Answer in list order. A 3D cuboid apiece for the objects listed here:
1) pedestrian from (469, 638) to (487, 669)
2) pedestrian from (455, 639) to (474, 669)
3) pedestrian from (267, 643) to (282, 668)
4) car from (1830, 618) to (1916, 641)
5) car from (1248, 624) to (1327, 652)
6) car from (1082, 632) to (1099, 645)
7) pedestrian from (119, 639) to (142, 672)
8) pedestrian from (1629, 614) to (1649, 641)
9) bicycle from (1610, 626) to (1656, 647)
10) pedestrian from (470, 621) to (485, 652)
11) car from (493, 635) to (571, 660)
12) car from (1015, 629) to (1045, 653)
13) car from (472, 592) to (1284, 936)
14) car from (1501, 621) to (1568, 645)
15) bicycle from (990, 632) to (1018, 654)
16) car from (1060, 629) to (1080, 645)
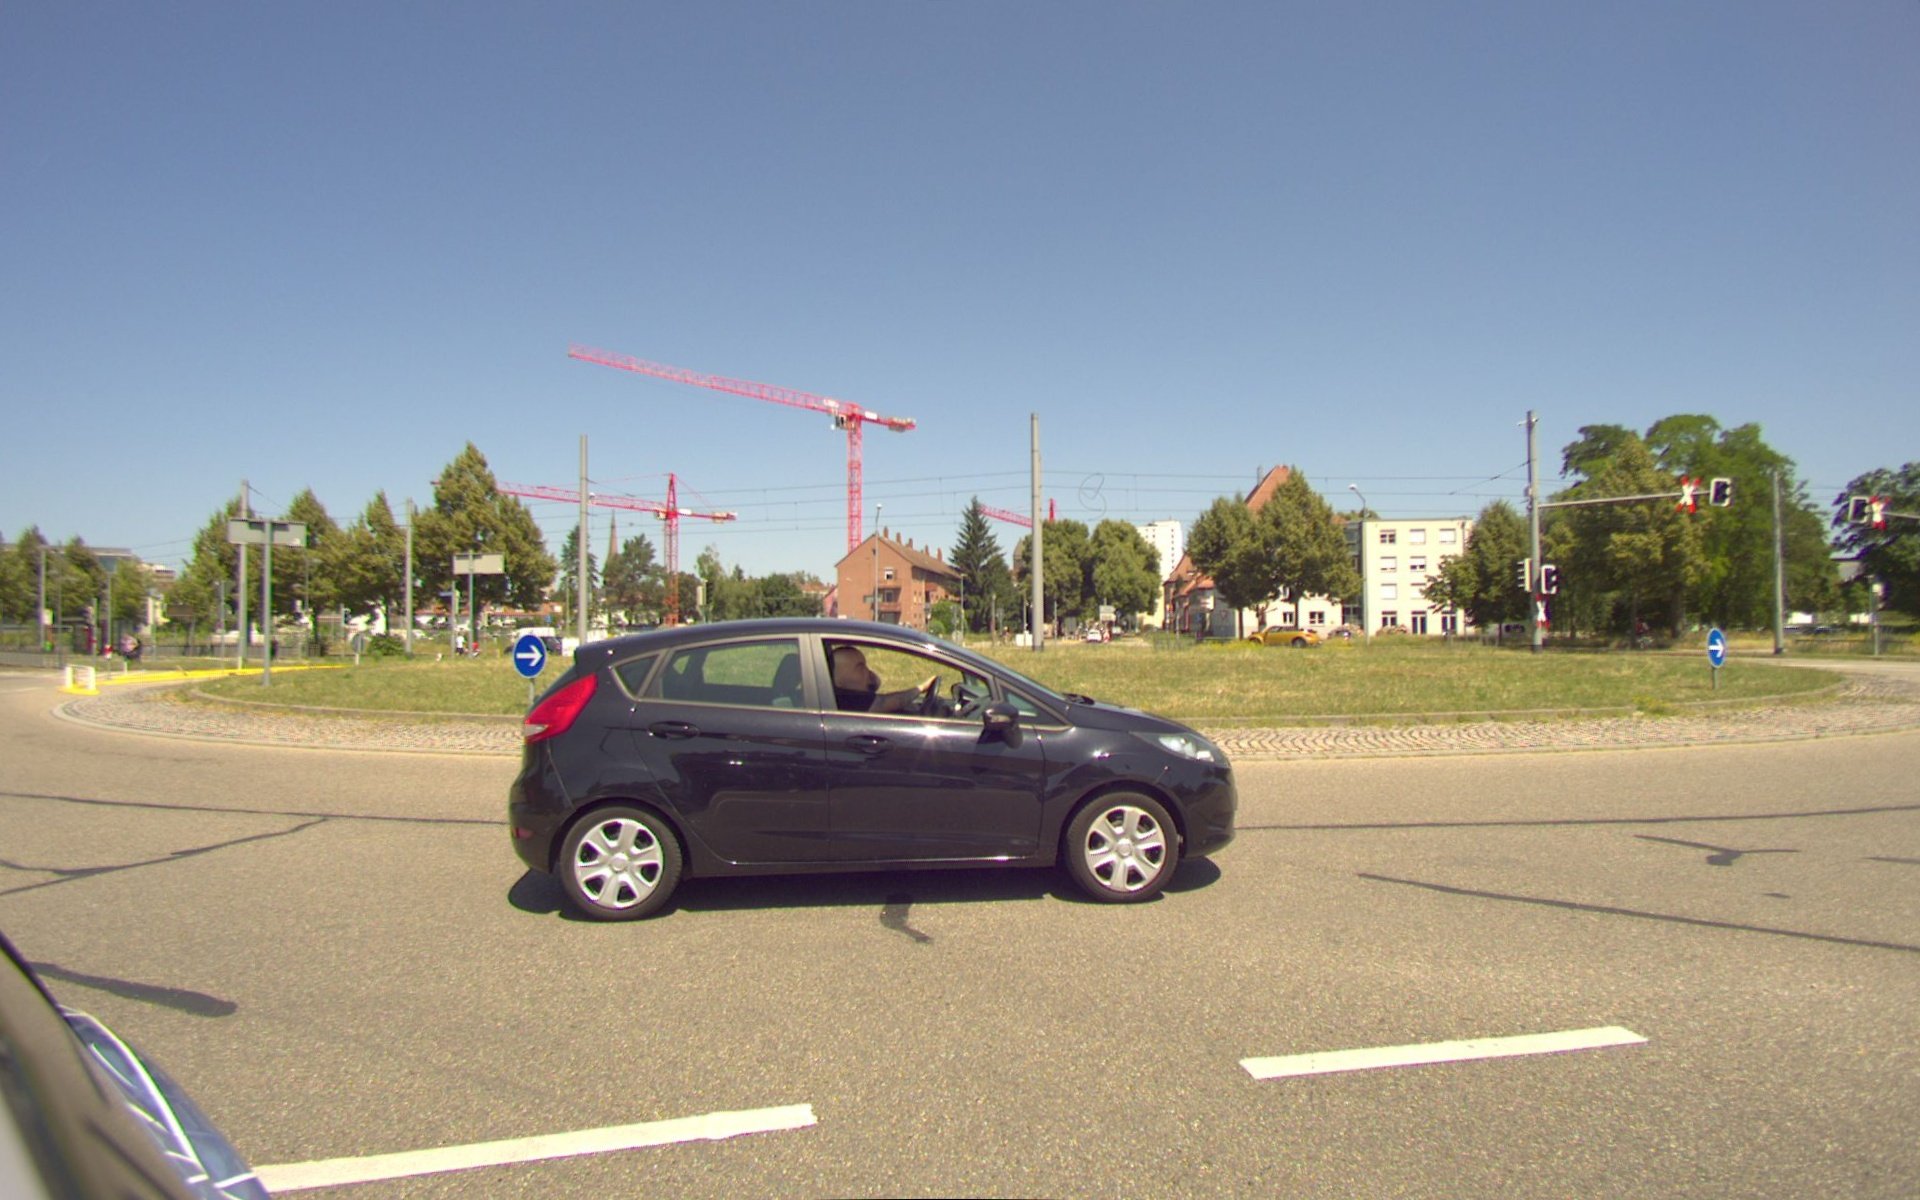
[{"bbox_3d":[-31.404,3.489,65.932,0.731,2.029,0.736,0,-2,40],"label":"pedestrian"},{"bbox_3d":[-31.964,3.489,65.250,0.731,1.913,0.804,0,-2,40],"label":"pedestrian"},{"bbox_3d":[-40.671,3.280,60.004,0.542,1.417,0.590,-2,-2,37],"label":"pedestrian"},{"bbox_3d":[63.674,2.047,70.644,1.965,1.586,4.013,2,-2,-26],"label":"car"},{"bbox_3d":[17.747,2.027,54.940,1.803,1.413,3.666,1,-2,-42],"label":"car"},{"bbox_3d":[14.653,4.309,113.366,1.697,1.431,3.888,1,-2,10],"label":"car"},{"bbox_3d":[-42.514,2.829,51.889,0.781,1.652,0.750,0,-2,40],"label":"pedestrian"},{"bbox_3d":[38.216,1.553,56.949,0.818,1.461,0.699,-1,-2,45],"label":"pedestrian"},{"bbox_3d":[37.987,2.064,57.163,0.719,1.123,2.060,3,-2,-45],"label":"bicycle"},{"bbox_3d":[-31.847,2.387,66.762,0.600,2.029,0.589,0,-2,28],"label":"pedestrian"},{"bbox_3d":[-26.525,2.946,62.816,3.941,1.475,2.001,1,-2,-2],"label":"car"},{"bbox_3d":[6.274,3.630,90.009,1.981,2.029,3.980,1,-2,15],"label":"car"},{"bbox_3d":[-0.399,0.743,5.532,3.761,1.519,1.635,-1,0,-4],"label":"car"},{"bbox_3d":[43.237,2.487,76.247,3.964,1.697,1.990,1,-2,16],"label":"car"},{"bbox_3d":[3.464,3.383,79.632,2.053,1.697,0.561,1,-2,-8],"label":"bicycle"},{"bbox_3d":[14.253,4.787,131.354,1.981,2.029,3.980,1,-2,15],"label":"car"}]
